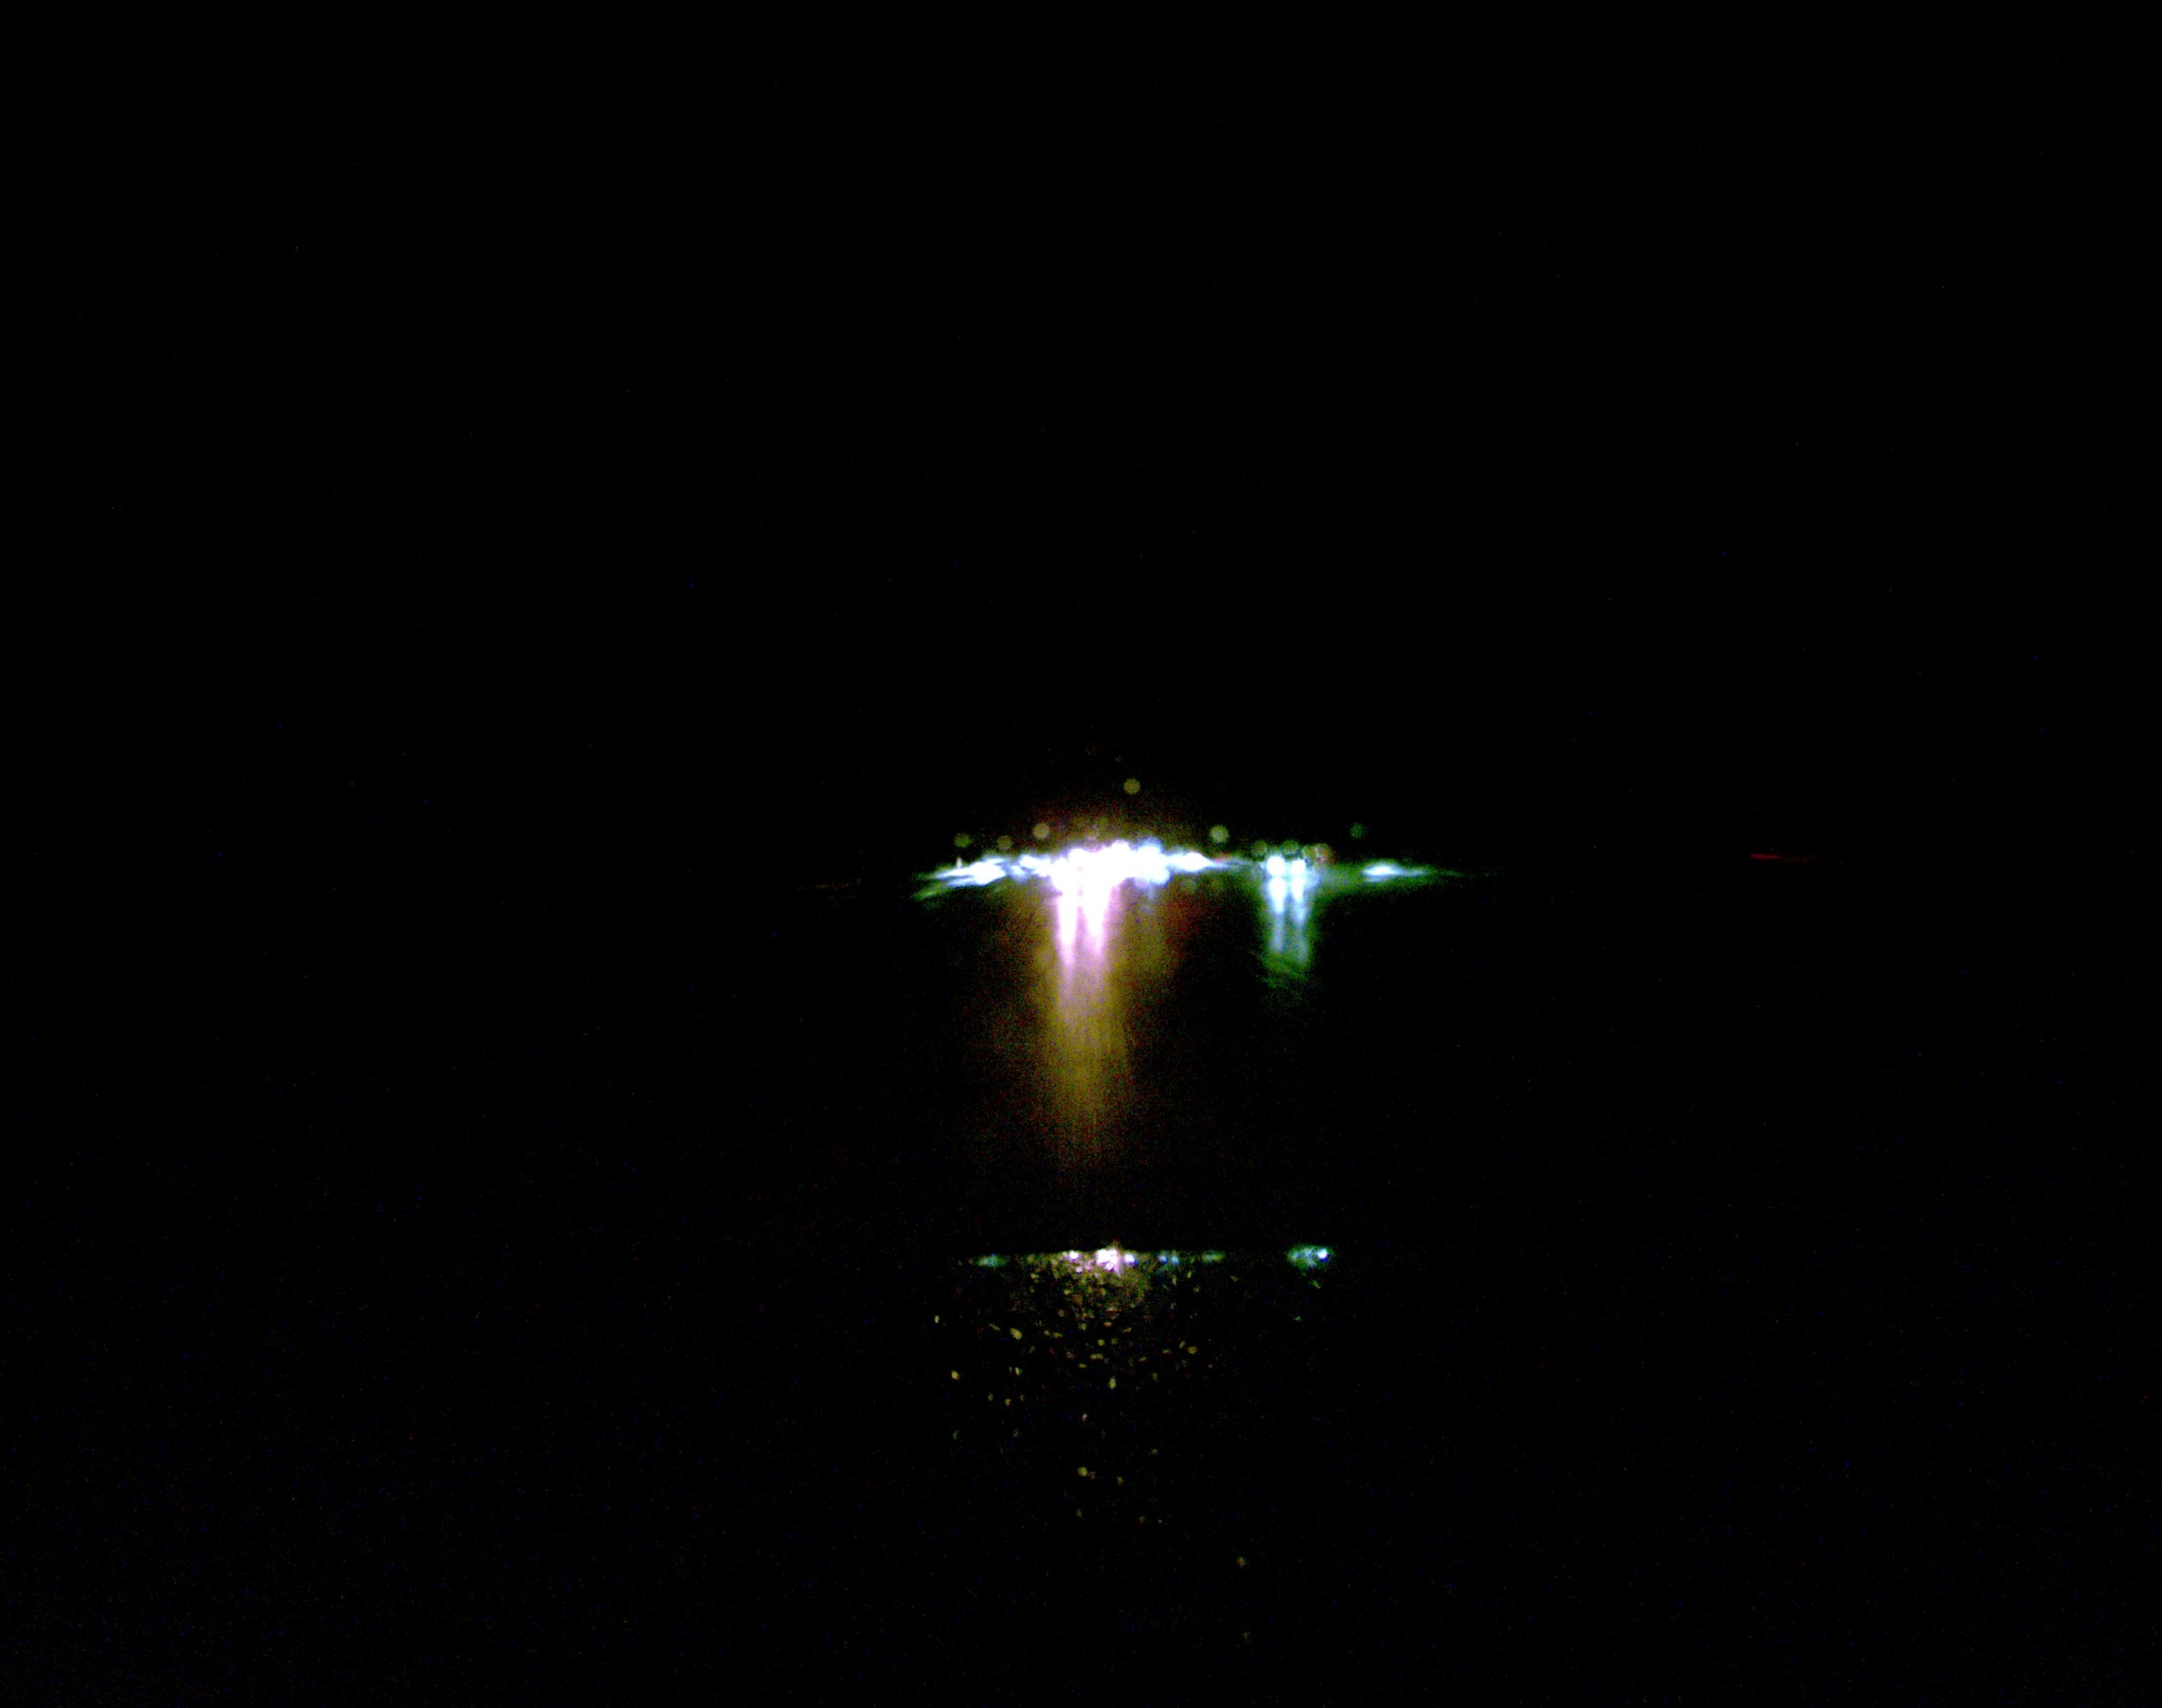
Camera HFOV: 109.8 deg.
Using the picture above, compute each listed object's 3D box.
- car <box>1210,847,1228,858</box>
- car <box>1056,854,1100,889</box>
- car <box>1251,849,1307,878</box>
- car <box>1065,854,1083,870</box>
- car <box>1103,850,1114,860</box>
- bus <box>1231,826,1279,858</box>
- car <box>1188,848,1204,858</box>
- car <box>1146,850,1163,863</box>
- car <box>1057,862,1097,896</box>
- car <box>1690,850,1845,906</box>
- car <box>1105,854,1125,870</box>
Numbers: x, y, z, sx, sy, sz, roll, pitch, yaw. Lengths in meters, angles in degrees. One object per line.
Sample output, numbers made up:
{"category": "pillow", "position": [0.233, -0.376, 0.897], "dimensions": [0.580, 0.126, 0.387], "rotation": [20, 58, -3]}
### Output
{"category": "car", "position": [22.073, -0.226, 121.845], "dimensions": [1.885, 1.548, 4.459], "rotation": [-3, 0, -1]}
{"category": "car", "position": [-0.141, 0.896, 37.369], "dimensions": [1.999, 1.542, 4.001], "rotation": [-3, -2, 0]}
{"category": "car", "position": [11.366, 0.504, 44.037], "dimensions": [1.998, 1.551, 4.587], "rotation": [-3, 0, 0]}
{"category": "car", "position": [-0.732, 0.830, 80.897], "dimensions": [1.813, 1.477, 3.581], "rotation": [-3, 1, -1]}
{"category": "car", "position": [5.623, 0.240, 153.573], "dimensions": [1.998, 1.797, 4.000], "rotation": [-3, 1, 1]}
{"category": "bus", "position": [26.956, -1.757, 118.807], "dimensions": [3.082, 4.464, 17.009], "rotation": [-3, 0, -1]}
{"category": "car", "position": [19.878, -0.199, 131.712], "dimensions": [1.885, 1.548, 4.459], "rotation": [-3, 0, -1]}
{"category": "car", "position": [10.543, 0.366, 108.862], "dimensions": [1.998, 1.797, 4.000], "rotation": [-3, 1, 1]}
{"category": "car", "position": [-0.178, 1.015, 32.122], "dimensions": [1.526, 1.256, 3.368], "rotation": [-3, 0, -1]}
{"category": "car", "position": [24.810, 0.805, 27.677], "dimensions": [1.909, 1.797, 3.998], "rotation": [-3, 1, -3]}
{"category": "car", "position": [3.807, 0.889, 85.366], "dimensions": [1.998, 1.551, 4.587], "rotation": [-3, 0, 0]}
